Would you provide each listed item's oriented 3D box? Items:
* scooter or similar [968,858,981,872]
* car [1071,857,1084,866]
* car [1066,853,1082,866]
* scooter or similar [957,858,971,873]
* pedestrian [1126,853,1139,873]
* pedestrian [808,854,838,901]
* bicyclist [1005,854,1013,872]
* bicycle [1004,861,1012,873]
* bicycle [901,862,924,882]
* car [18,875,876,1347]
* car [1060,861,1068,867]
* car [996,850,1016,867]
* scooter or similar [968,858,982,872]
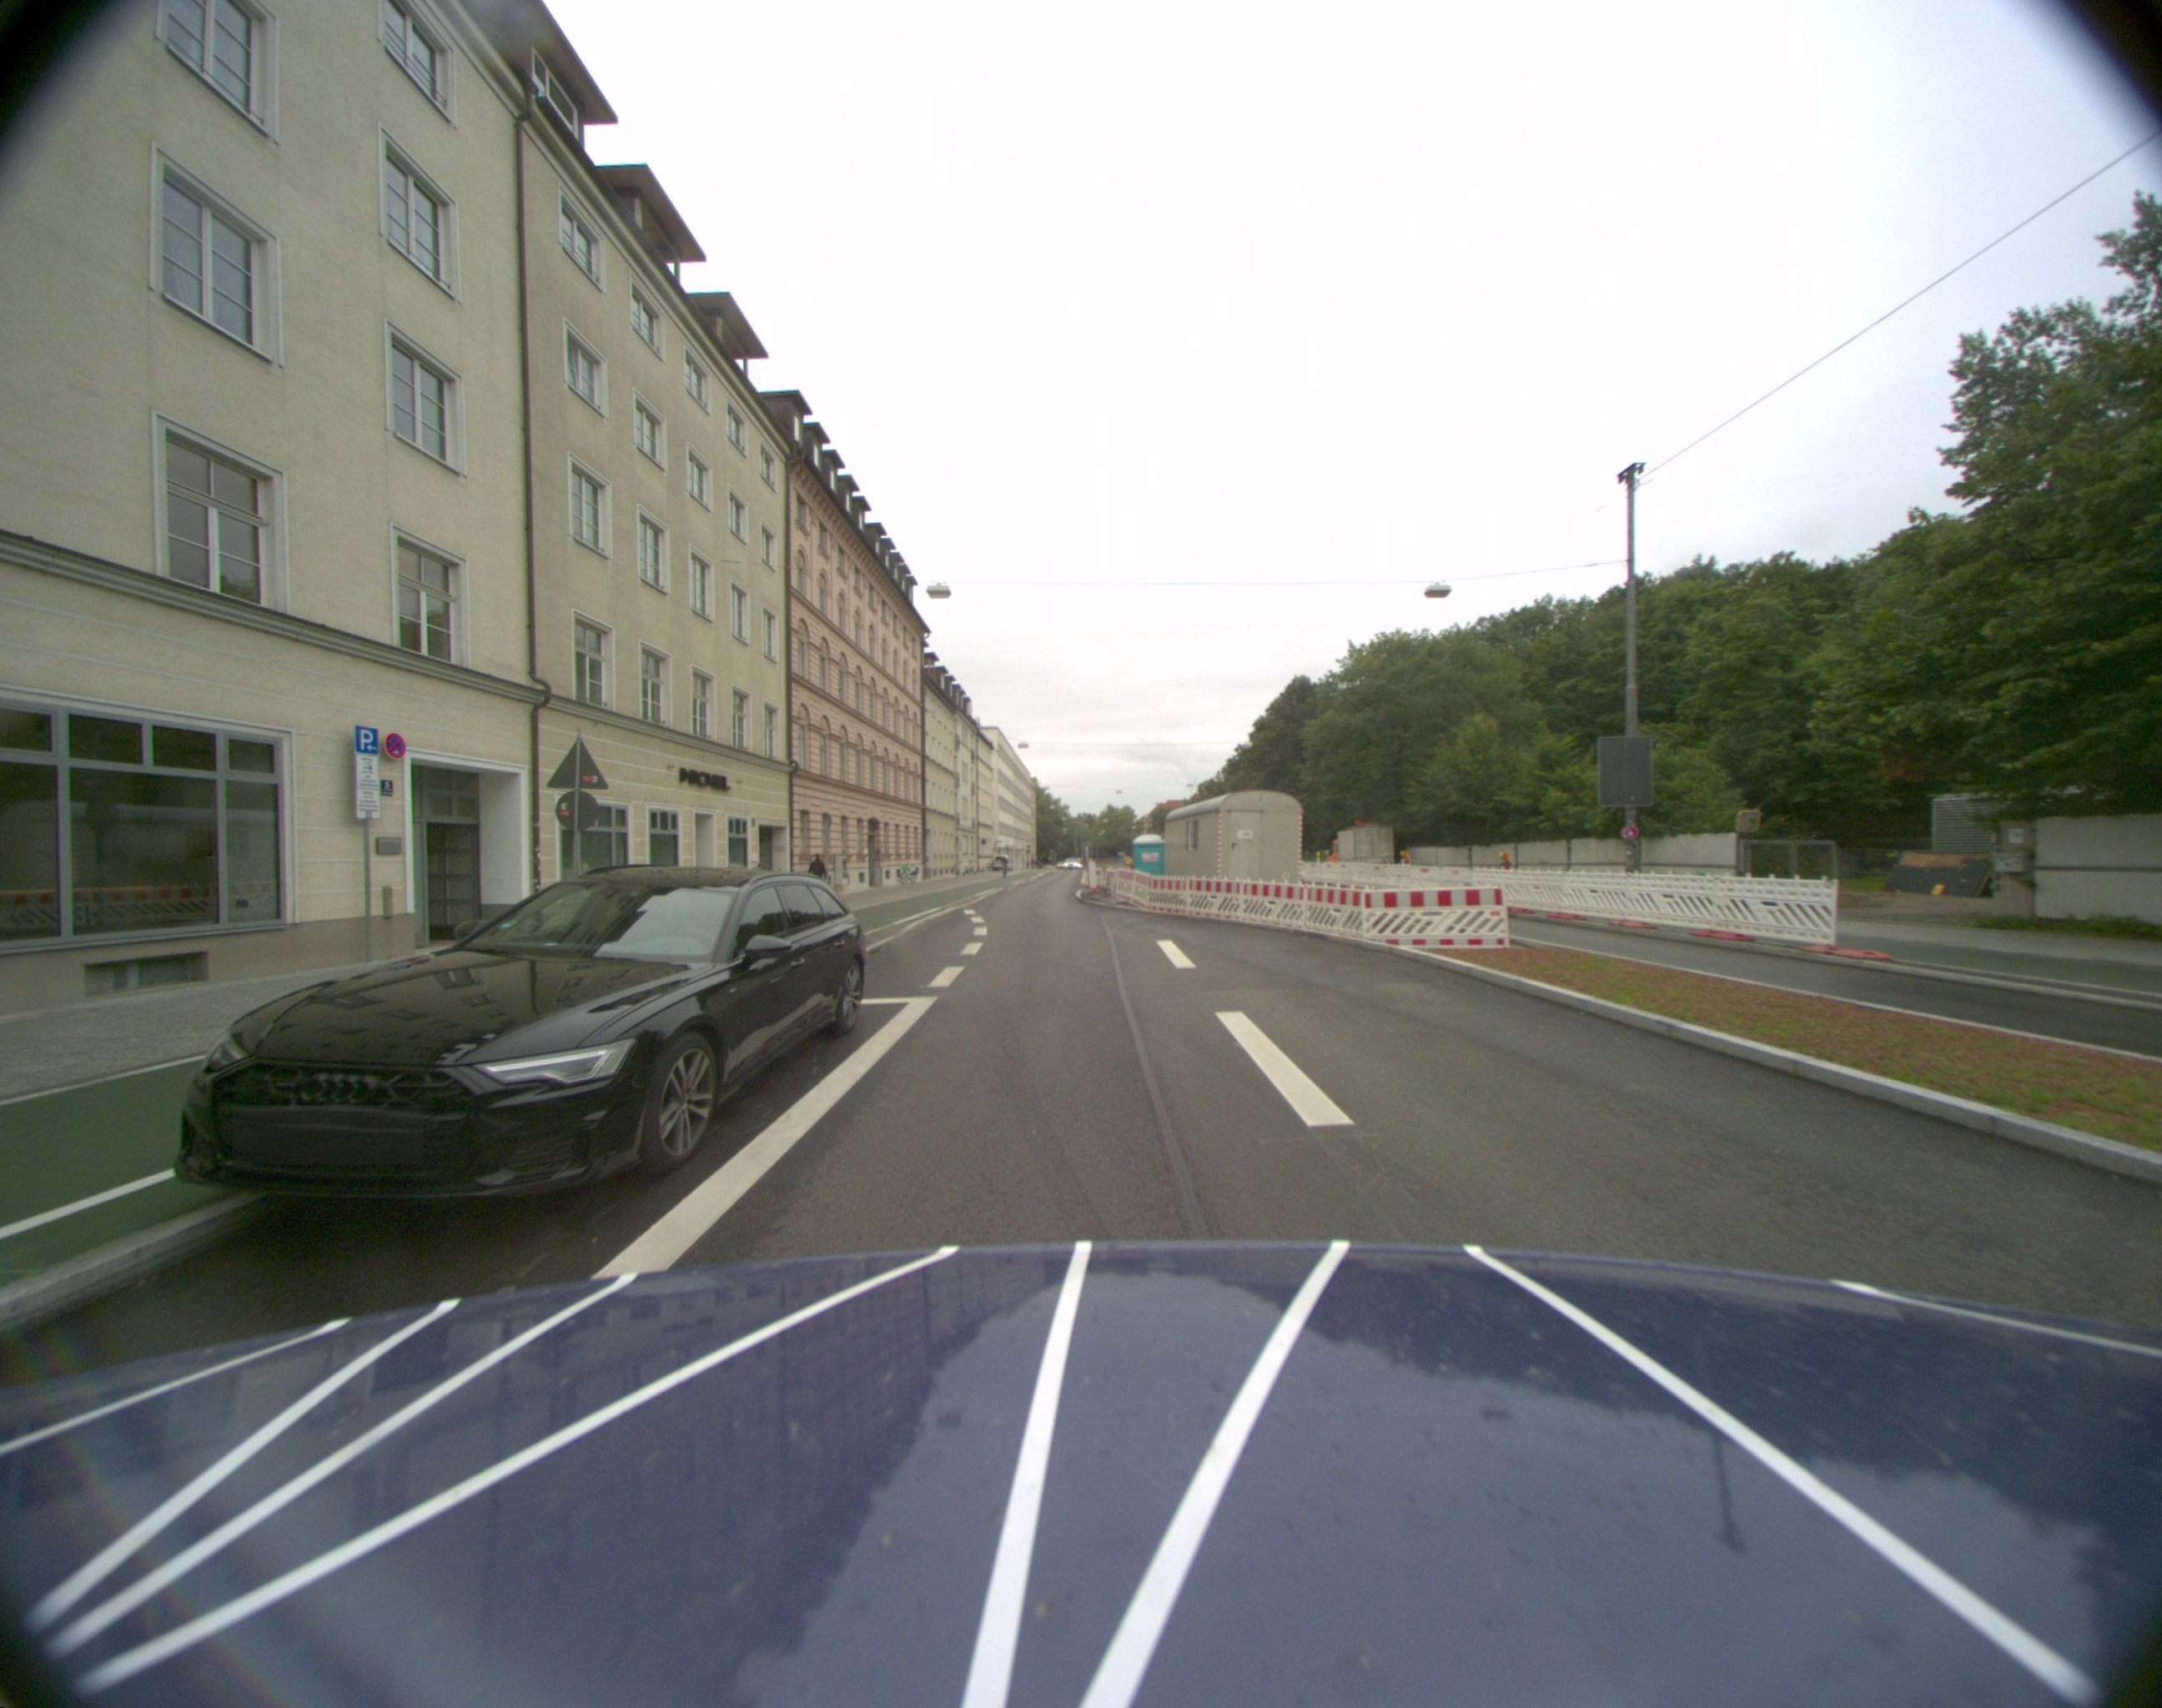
[{"bbox_3d":[-9.806,1.011,69.740,1.079,1.185,0.436,-1,1,-39],"label":"scooter or similar"},{"bbox_3d":[-0.606,1.241,126.650,1.759,1.461,3.999,-2,0,-3],"label":"car"},{"bbox_3d":[-0.892,0.657,95.752,1.758,1.461,4.001,-2,0,3],"label":"car"},{"bbox_3d":[-9.770,0.990,63.607,0.552,1.238,1.079,0,1,35],"label":"scooter or similar"},{"bbox_3d":[4.805,0.853,71.011,0.861,1.826,0.873,-1,1,-23],"label":"pedestrian"},{"bbox_3d":[-9.665,0.855,28.470,0.795,1.735,0.833,-1,1,1],"label":"pedestrian"},{"bbox_3d":[-6.089,0.771,64.143,0.632,1.459,0.652,0,1,-6],"label":"bicyclist"},{"bbox_3d":[-6.155,1.077,64.122,0.632,1.031,2.016,0,0,-6],"label":"bicycle"},{"bbox_3d":[-9.983,1.063,45.045,0.556,1.170,1.727,0,0,15],"label":"bicycle"},{"bbox_3d":[-2.844,0.981,4.924,1.813,1.472,4.461,3,0,-1],"label":"car"},{"bbox_3d":[-4.970,2.847,222.301,1.999,1.560,4.000,-1,0,0],"label":"car"},{"bbox_3d":[-8.450,0.510,86.015,1.766,1.821,4.000,-1,0,0],"label":"car"},{"bbox_3d":[-9.548,0.997,68.403,1.078,1.185,0.453,-1,1,-29],"label":"scooter or similar"}]
